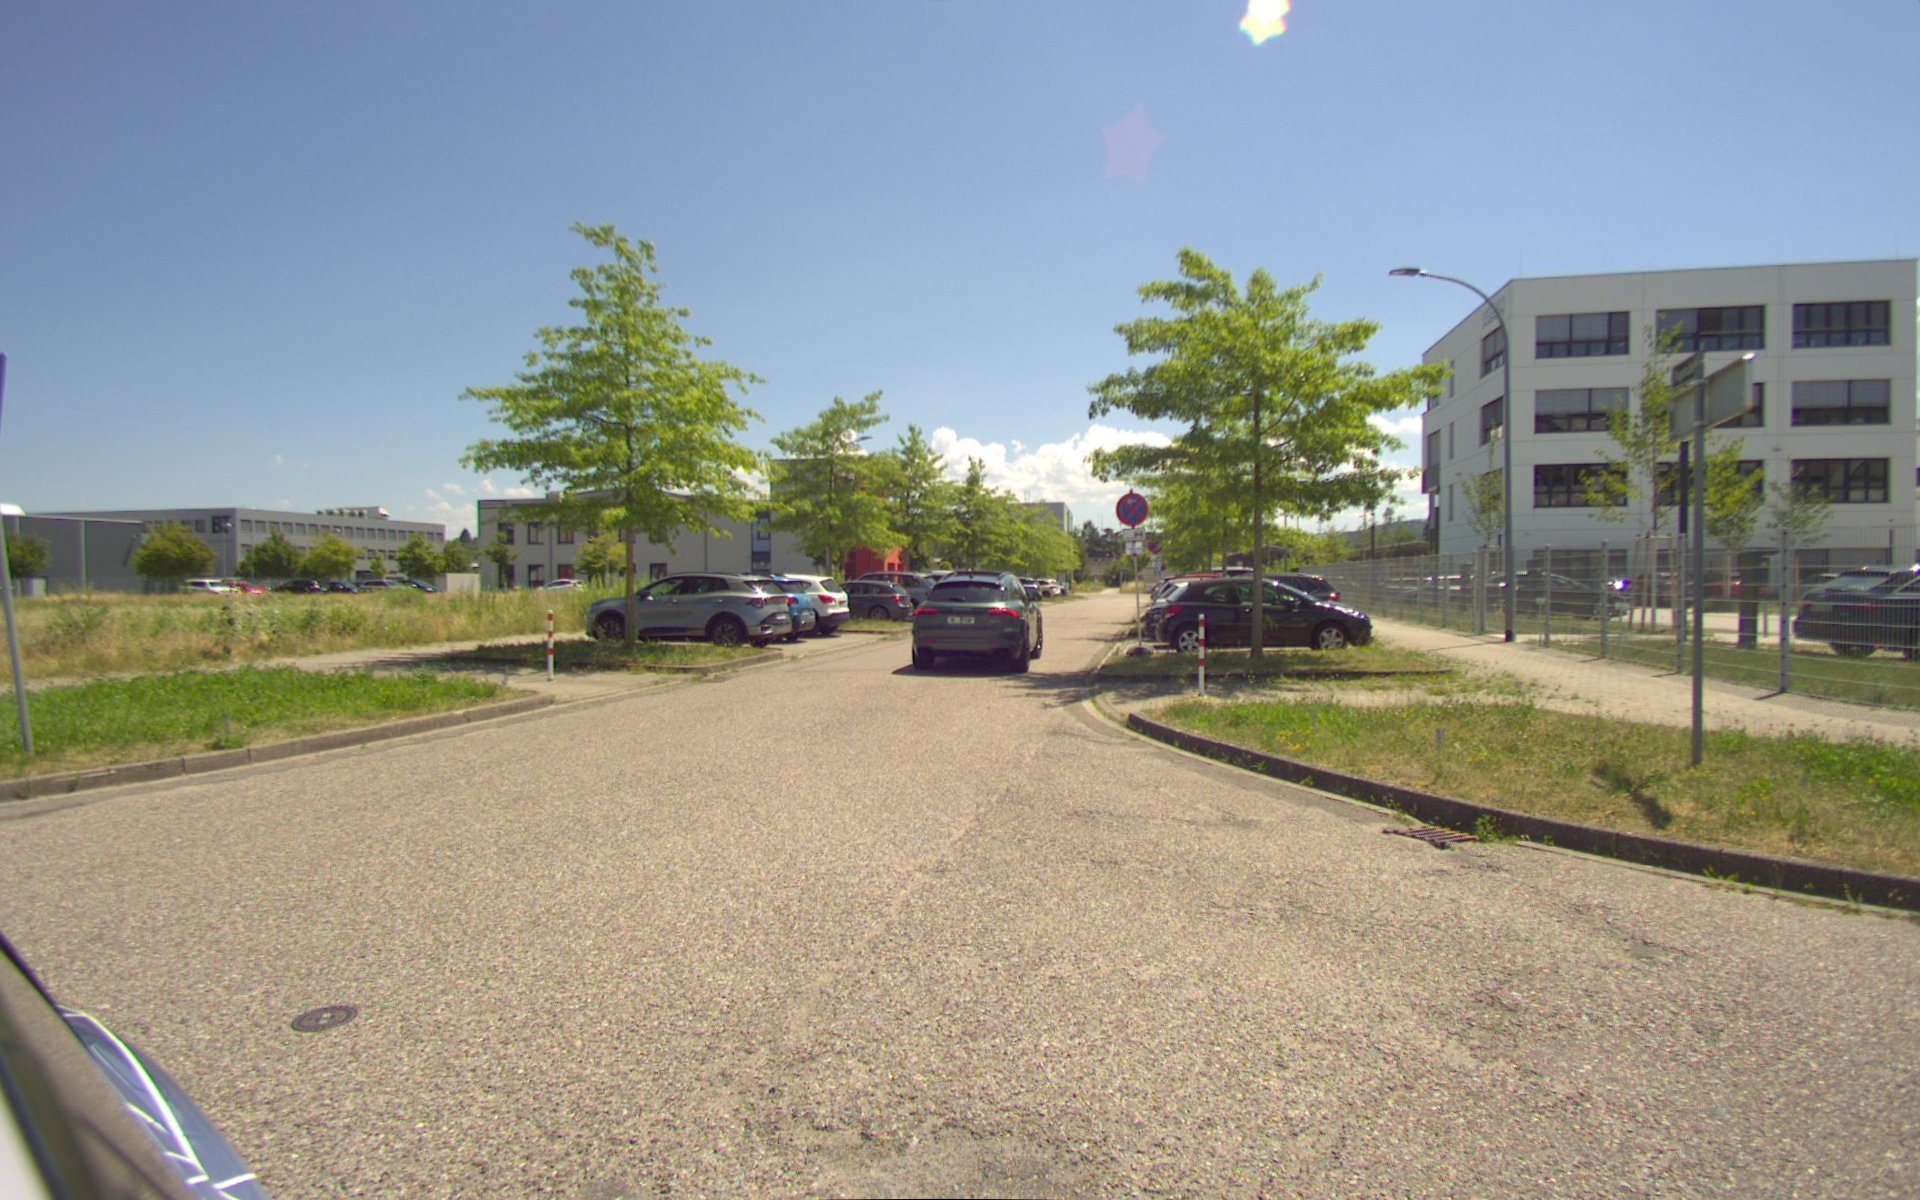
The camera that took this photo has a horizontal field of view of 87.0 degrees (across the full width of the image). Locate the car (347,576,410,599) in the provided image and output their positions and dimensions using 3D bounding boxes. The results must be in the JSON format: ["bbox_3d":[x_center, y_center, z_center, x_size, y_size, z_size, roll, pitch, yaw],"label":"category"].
[{"bbox_3d":[-45.548,-0.946,79.301,3.955,1.763,1.995,0,1,9],"label":"car"}]

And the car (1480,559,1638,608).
[{"bbox_3d":[19.541,-0.530,33.176,4.061,1.522,1.771,0,1,11],"label":"car"}]

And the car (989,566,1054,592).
[{"bbox_3d":[4.224,-1.400,68.753,4.162,1.710,1.951,0,2,13],"label":"car"}]

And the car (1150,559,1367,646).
[{"bbox_3d":[5.591,0.048,19.273,3.762,1.487,1.604,-2,1,14],"label":"car"}]

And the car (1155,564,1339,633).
[{"bbox_3d":[6.768,-0.042,24.256,4.072,1.487,1.606,-2,1,12],"label":"car"}]

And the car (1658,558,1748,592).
[{"bbox_3d":[35.017,-1.157,47.802,1.757,1.522,4.093,0,1,10],"label":"car"}]

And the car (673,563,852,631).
[{"bbox_3d":[-5.205,-0.111,26.952,4.265,1.710,1.951,0,2,13],"label":"car"}]

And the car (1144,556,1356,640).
[{"bbox_3d":[6.171,-0.044,21.845,4.212,1.632,1.604,-2,1,14],"label":"car"}]

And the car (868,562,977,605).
[{"bbox_3d":[-1.527,-0.712,41.798,4.162,1.710,1.951,0,2,13],"label":"car"}]

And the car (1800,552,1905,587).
[{"bbox_3d":[41.616,-1.396,47.308,1.757,1.522,4.093,0,1,10],"label":"car"}]

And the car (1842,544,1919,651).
[{"bbox_3d":[15.773,-0.068,14.711,4.061,1.522,1.771,0,1,11],"label":"car"}]

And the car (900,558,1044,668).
[{"bbox_3d":[0.364,0.149,18.384,1.977,1.706,4.625,1,1,9],"label":"car"}]

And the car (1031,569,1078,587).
[{"bbox_3d":[8.873,-2.056,94.557,4.162,1.710,1.951,0,2,13],"label":"car"}]

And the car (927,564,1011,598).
[{"bbox_3d":[0.493,-0.996,53.264,4.162,1.710,1.951,0,2,13],"label":"car"}]

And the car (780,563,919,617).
[{"bbox_3d":[-3.611,-0.357,33.423,4.162,1.710,1.951,0,2,13],"label":"car"}]

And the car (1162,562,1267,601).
[{"bbox_3d":[10.495,-0.761,41.928,4.072,1.487,1.606,-2,1,12],"label":"car"}]

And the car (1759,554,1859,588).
[{"bbox_3d":[39.709,-1.340,47.465,1.757,1.522,4.093,0,1,10],"label":"car"}]

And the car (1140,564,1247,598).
[{"bbox_3d":[11.599,-0.957,50.582,5.061,1.487,2.208,-2,1,12],"label":"car"}]

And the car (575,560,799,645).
[{"bbox_3d":[-5.847,0.009,21.857,4.265,1.710,1.951,0,2,13],"label":"car"}]

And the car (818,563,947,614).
[{"bbox_3d":[-2.710,-0.424,35.830,4.162,1.710,1.951,0,2,13],"label":"car"}]

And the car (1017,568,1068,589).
[{"bbox_3d":[7.088,-1.851,86.646,4.162,1.710,1.951,0,2,13],"label":"car"}]

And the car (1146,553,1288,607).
[{"bbox_3d":[7.813,-0.611,31.064,4.072,1.487,1.606,-2,1,12],"label":"car"}]

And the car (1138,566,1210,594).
[{"bbox_3d":[12.631,-1.175,59.907,4.072,1.487,1.606,-2,1,12],"label":"car"}]

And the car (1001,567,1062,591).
[{"bbox_3d":[5.210,-1.522,73.575,4.162,1.710,1.951,0,2,13],"label":"car"}]

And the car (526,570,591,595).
[{"bbox_3d":[-29.220,-1.266,73.709,3.956,1.763,1.994,0,1,10],"label":"car"}]

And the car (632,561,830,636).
[{"bbox_3d":[-5.515,-0.063,24.544,4.265,1.710,1.951,0,2,13],"label":"car"}]

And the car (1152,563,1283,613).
[{"bbox_3d":[8.498,-0.409,33.714,4.072,1.487,1.606,-2,1,12],"label":"car"}]

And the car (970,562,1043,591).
[{"bbox_3d":[2.863,-1.455,62.003,4.162,1.710,1.951,0,2,13],"label":"car"}]

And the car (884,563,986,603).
[{"bbox_3d":[-1.094,-0.782,44.741,4.162,1.710,1.951,0,2,13],"label":"car"}]

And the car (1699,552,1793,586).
[{"bbox_3d":[36.993,-1.445,47.788,1.757,1.522,4.093,0,1,10],"label":"car"}]

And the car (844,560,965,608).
[{"bbox_3d":[-2.051,-0.624,37.933,4.162,1.710,1.951,0,2,13],"label":"car"}]
